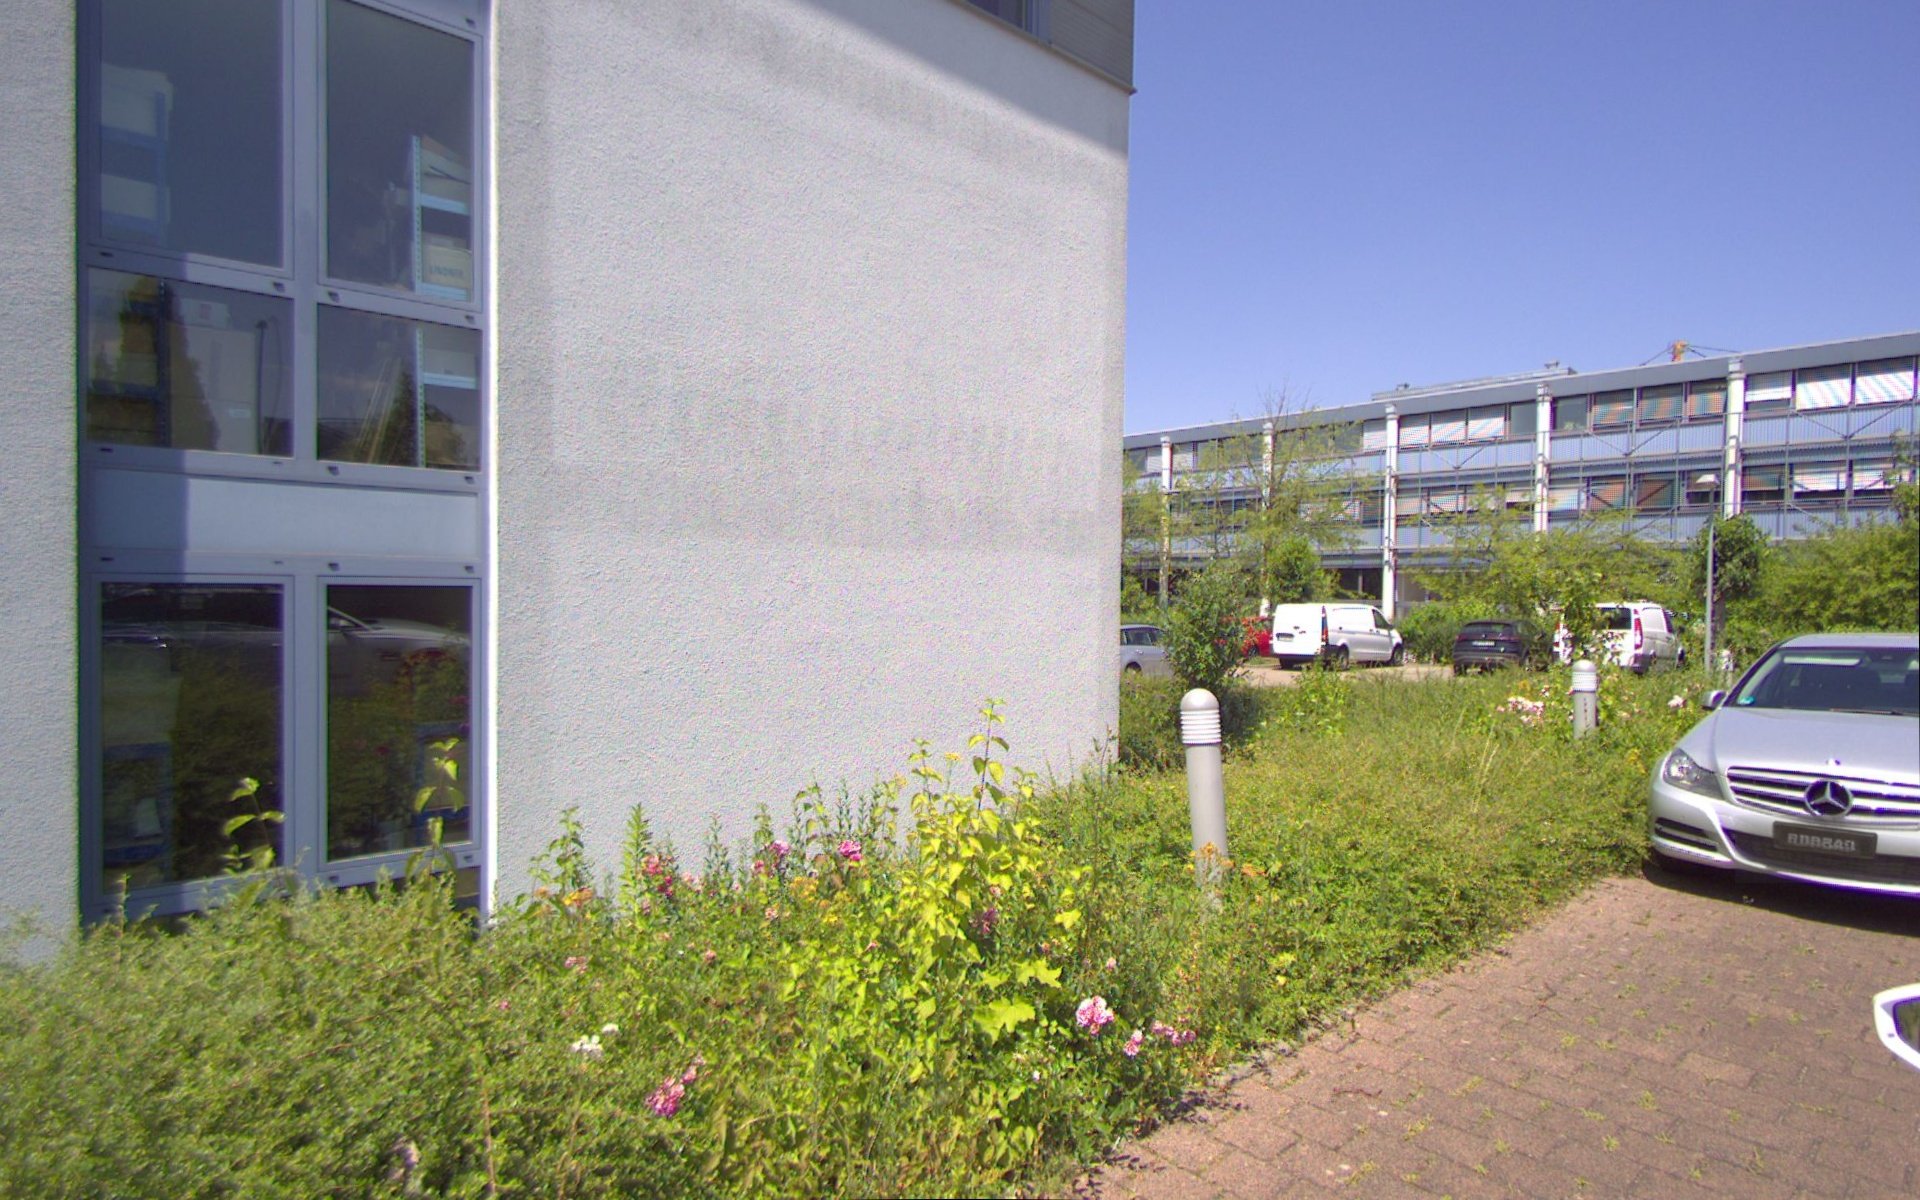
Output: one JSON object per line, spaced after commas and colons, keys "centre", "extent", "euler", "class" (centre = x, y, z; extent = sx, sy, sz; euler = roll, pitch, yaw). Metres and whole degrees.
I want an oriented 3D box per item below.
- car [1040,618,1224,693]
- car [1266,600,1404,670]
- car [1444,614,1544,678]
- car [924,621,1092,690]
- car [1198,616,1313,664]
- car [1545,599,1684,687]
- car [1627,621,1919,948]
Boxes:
{"centre": [3.979, 1.173, 22.720], "extent": [4.453, 1.492, 1.839], "euler": [1, 0, -44], "class": "car"}
{"centre": [11.165, 0.967, 29.733], "extent": [4.767, 1.916, 1.865], "euler": [0, 0, -42], "class": "car"}
{"centre": [14.259, 1.159, 26.717], "extent": [1.732, 1.496, 3.984], "euler": [0, 0, 37], "class": "car"}
{"centre": [1.249, 1.315, 25.209], "extent": [3.967, 1.481, 1.977], "euler": [-1, 0, -40], "class": "car"}
{"centre": [9.695, 1.245, 32.787], "extent": [3.968, 1.460, 1.767], "euler": [1, -1, -41], "class": "car"}
{"centre": [16.032, 0.951, 24.501], "extent": [4.776, 1.930, 1.894], "euler": [0, 0, -45], "class": "car"}
{"centre": [5.734, 0.881, 6.141], "extent": [4.114, 1.476, 1.714], "euler": [1, -1, -40], "class": "car"}
